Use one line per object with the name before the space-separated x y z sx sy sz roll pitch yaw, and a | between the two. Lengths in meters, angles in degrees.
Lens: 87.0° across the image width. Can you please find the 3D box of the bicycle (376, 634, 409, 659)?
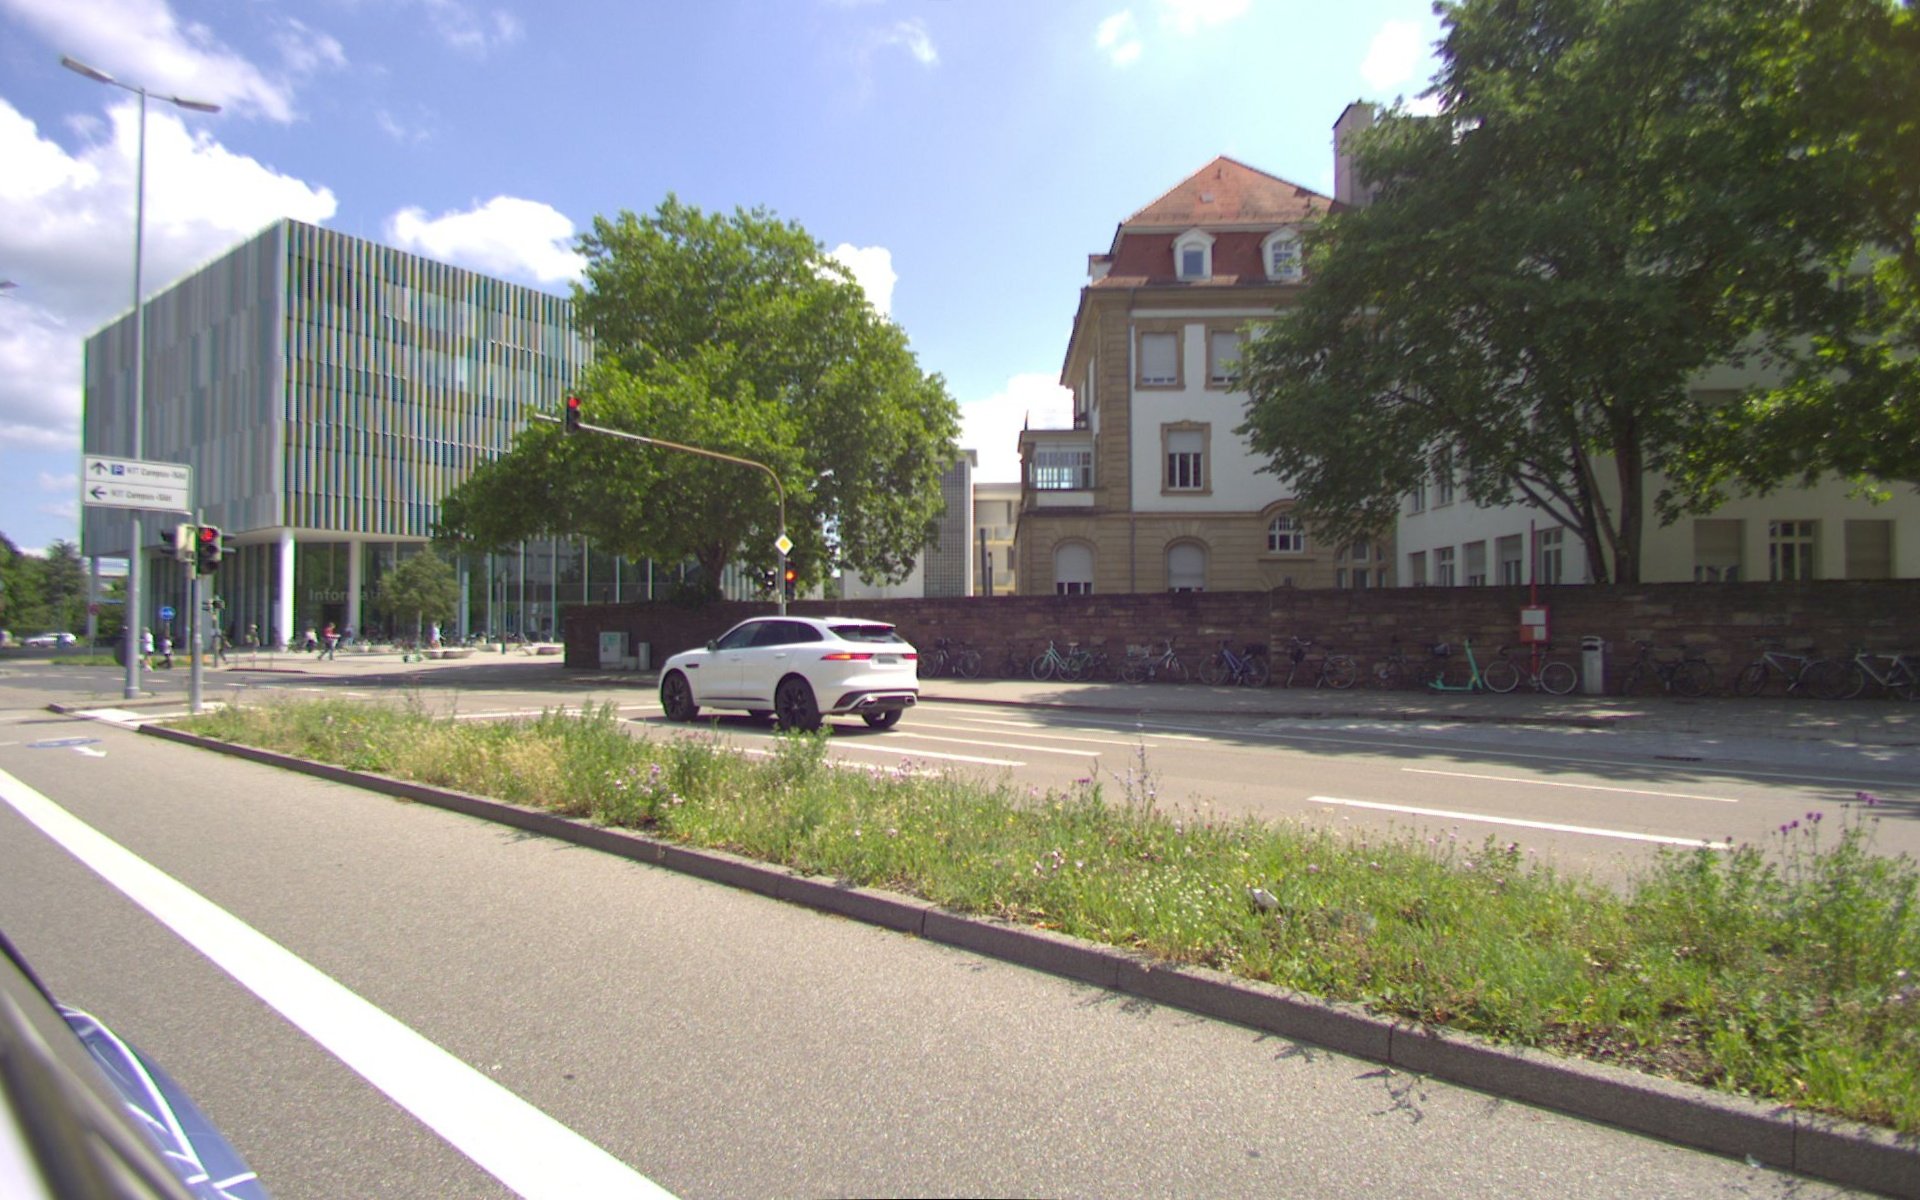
bicycle | -37.096 3.033 66.197 1.034 1.564 3.424 0 -2 -14

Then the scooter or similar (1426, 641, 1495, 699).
scooter or similar | 10.279 1.422 20.801 1.183 1.161 0.430 -1 -2 19

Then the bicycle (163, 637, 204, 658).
bicycle | -59.881 3.657 78.054 2.474 1.506 0.731 1 -2 -41

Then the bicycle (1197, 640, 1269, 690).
bicycle | 6.423 1.520 23.830 1.587 1.161 0.399 -1 -2 28

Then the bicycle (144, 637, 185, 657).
bicycle | -62.321 3.678 79.289 0.620 1.506 2.480 -2 -2 39

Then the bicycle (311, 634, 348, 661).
bicycle | -40.899 3.070 65.656 0.797 1.656 3.421 0 -2 -10

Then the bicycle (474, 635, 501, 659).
bicycle | -30.920 3.060 66.277 0.983 1.564 3.424 0 -2 -14

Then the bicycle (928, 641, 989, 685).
bicycle | -0.047 1.713 27.815 1.588 1.161 0.616 -2 -2 31

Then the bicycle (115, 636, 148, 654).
bicycle | -69.684 3.790 85.168 0.620 1.506 2.045 -2 -2 39

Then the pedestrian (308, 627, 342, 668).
pedestrian | -30.679 2.304 48.870 0.969 1.940 1.096 -1 -2 34

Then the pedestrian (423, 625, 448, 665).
pedestrian | -26.297 2.237 50.698 1.090 1.940 0.975 0 -2 -28

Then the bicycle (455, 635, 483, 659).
bicycle | -32.026 3.053 66.115 0.983 1.564 3.424 0 -2 -14

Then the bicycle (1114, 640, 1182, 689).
bicycle | 4.535 1.559 24.509 1.575 1.161 0.402 -1 -2 7

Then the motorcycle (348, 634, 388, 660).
motorcycle | -38.530 3.051 65.937 0.956 1.652 3.302 0 -2 -7

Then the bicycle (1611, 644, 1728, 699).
bicycle | 13.760 1.369 19.686 1.794 1.016 0.477 -1 -2 31

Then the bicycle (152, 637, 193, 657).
bicycle | -62.562 3.704 80.429 0.620 1.506 2.480 -2 -2 39

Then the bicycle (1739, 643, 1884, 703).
bicycle | 15.629 1.323 18.638 1.940 1.055 0.540 -1 -2 28

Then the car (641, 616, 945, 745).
car | -2.688 1.139 15.557 4.772 1.680 2.049 -2 -3 41

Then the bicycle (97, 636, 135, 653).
bicycle | -72.734 3.827 87.232 0.620 1.506 2.480 -2 -2 39

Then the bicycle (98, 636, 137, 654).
bicycle | -71.928 3.812 86.460 0.620 1.506 2.480 -2 -2 39

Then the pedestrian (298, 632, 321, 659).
pedestrian | -42.095 2.932 65.532 0.997 1.720 1.214 0 -2 -20

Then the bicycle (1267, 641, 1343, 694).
bicycle | 7.727 1.513 22.748 1.581 1.161 0.531 -1 -2 18

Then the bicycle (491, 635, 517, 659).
bicycle | -29.810 3.064 66.264 0.983 1.564 3.424 0 -2 -14

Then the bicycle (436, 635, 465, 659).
bicycle | -33.358 3.054 66.340 0.983 1.564 3.424 0 -2 -14

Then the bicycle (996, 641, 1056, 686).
bicycle | 1.750 1.658 26.808 1.590 1.161 0.409 -2 -2 34

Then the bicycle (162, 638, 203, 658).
bicycle | -59.277 3.641 77.199 0.620 1.506 2.421 -2 -2 39

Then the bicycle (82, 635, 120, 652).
bicycle | -76.267 3.875 89.842 0.620 1.506 2.480 -2 -2 39

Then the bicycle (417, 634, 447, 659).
bicycle | -34.581 3.045 66.284 0.983 1.564 3.424 0 -2 -14

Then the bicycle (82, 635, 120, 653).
bicycle | -75.791 3.865 89.317 0.620 1.506 2.480 -2 -2 39

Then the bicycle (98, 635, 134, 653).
bicycle | -73.429 3.844 88.073 0.620 1.506 2.301 -2 -2 39

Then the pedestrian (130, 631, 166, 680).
pedestrian | -33.444 2.270 41.699 1.091 1.940 0.974 1 -2 -35

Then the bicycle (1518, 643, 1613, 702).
bicycle | 12.256 1.461 20.525 1.586 1.151 0.429 -1 -2 27

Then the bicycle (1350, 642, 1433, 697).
bicycle | 9.370 1.502 22.023 1.581 1.161 0.531 -1 -2 18

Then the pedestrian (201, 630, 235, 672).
pedestrian | -35.305 2.420 48.174 0.963 1.940 0.875 -1 -2 15

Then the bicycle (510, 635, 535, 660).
bicycle | -28.714 3.097 66.517 0.983 1.564 3.424 0 -2 -14

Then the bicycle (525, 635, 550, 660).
bicycle | -27.356 3.038 65.565 0.983 1.564 3.424 0 -2 -14

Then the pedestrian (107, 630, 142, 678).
pedestrian | -34.790 2.230 42.154 1.091 1.940 0.974 1 -2 -39

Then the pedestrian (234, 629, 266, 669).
pedestrian | -35.168 2.431 50.122 0.957 1.940 0.880 0 -2 -4

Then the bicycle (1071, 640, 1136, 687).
bicycle | 3.543 1.570 25.109 1.575 1.161 0.402 -1 -2 7

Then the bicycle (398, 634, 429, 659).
bicycle | -35.740 3.040 66.237 0.983 1.564 3.424 0 -2 -14

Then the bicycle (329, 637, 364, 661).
bicycle | -39.860 3.150 65.785 0.918 1.505 2.691 0 -1 -6

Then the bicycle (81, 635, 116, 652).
bicycle | -77.206 3.893 90.726 0.656 1.506 2.274 -2 -2 39

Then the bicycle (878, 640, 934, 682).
bicycle | -1.543 1.737 28.798 1.588 1.161 0.495 -2 -2 31

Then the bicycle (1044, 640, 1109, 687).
bicycle | 2.961 1.612 25.770 1.580 1.161 0.400 -1 -2 17

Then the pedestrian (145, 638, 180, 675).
pedestrian | -36.543 2.582 46.365 0.964 1.641 0.874 -1 -2 17

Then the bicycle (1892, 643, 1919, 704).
bicycle | 17.508 1.279 17.542 1.886 1.055 0.540 -1 -2 28
